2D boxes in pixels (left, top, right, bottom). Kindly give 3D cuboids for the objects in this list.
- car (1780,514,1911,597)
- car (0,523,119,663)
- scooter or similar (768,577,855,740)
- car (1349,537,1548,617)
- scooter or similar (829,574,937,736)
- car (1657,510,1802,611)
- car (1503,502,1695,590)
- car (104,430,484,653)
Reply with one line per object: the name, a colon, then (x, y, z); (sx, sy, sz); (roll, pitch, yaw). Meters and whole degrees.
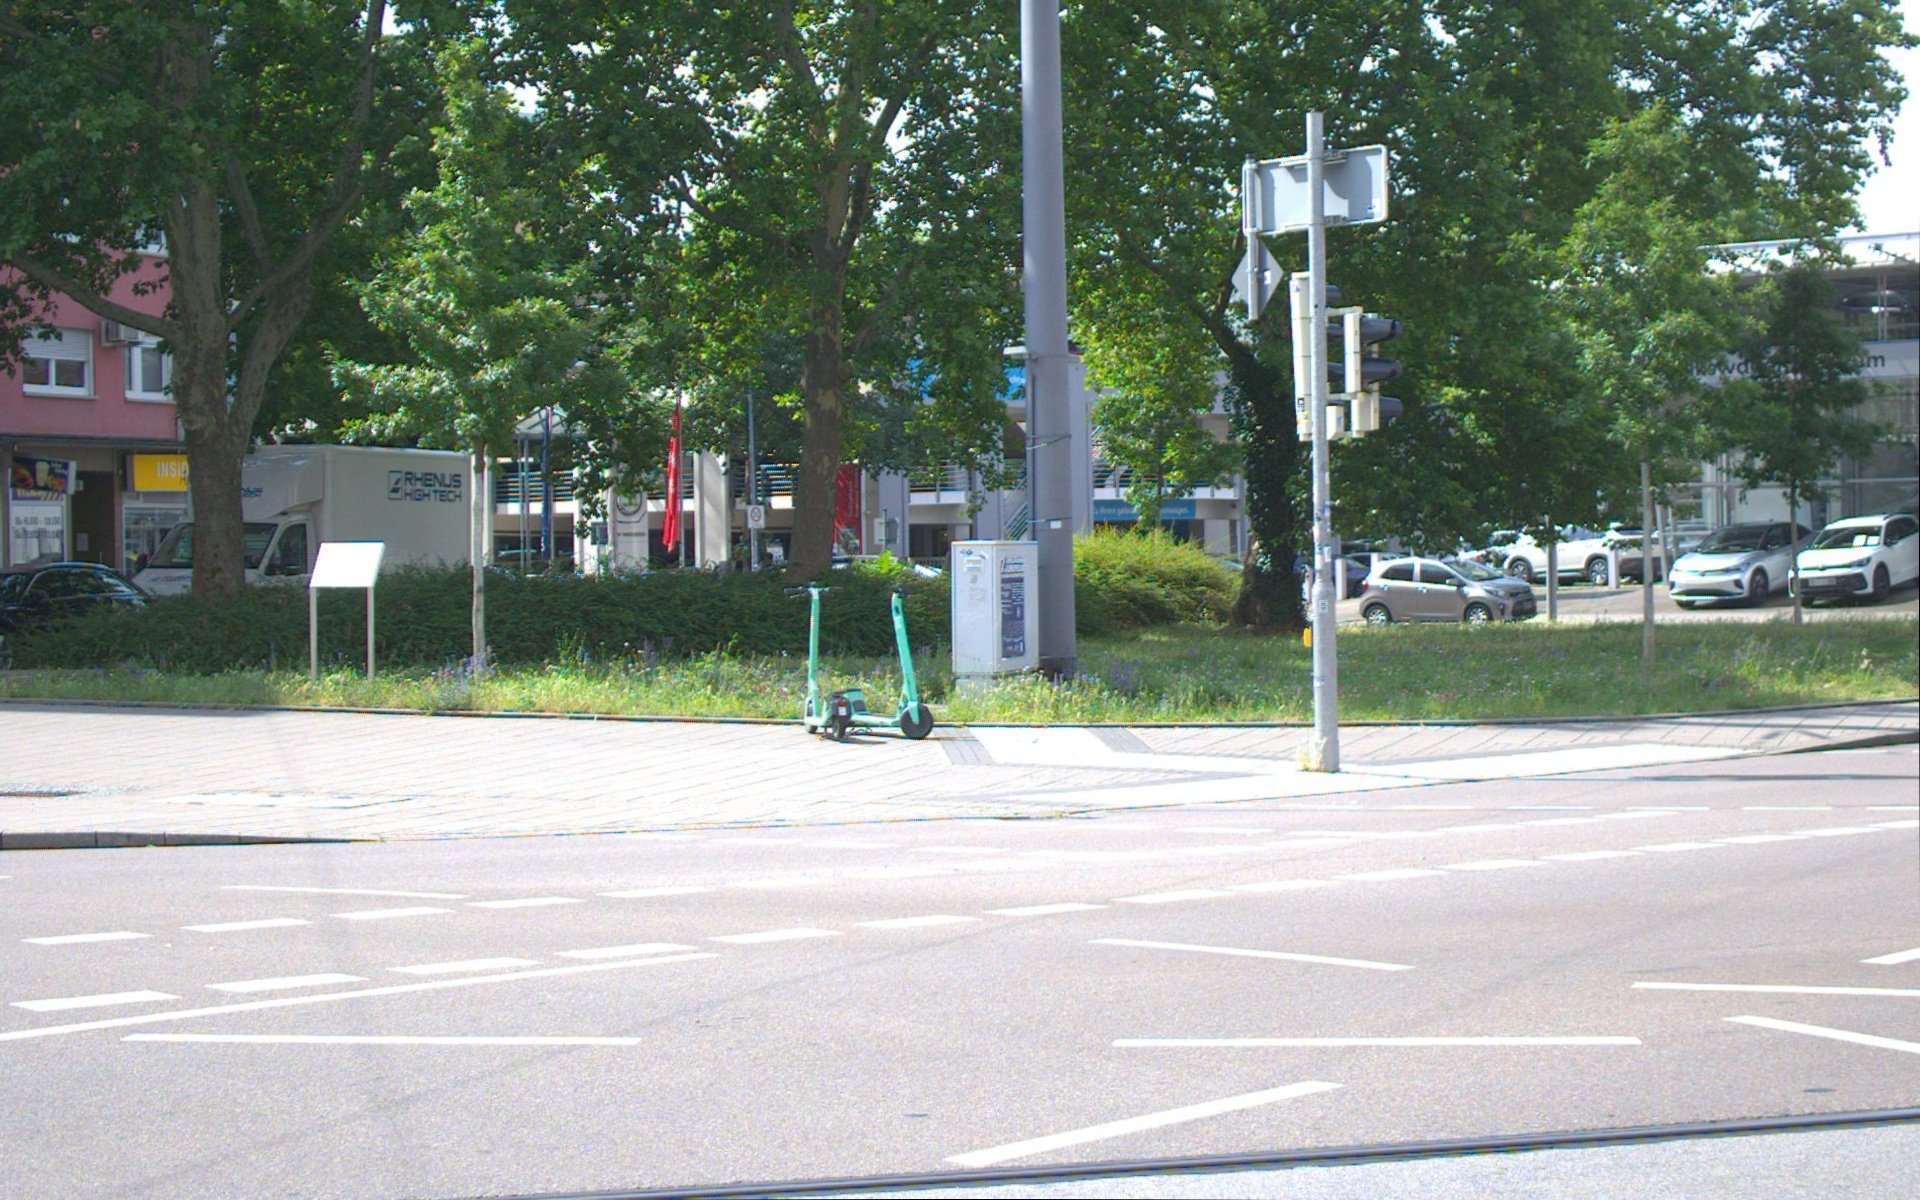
car: (18.543, -0.942, 71.903); (1.788, 1.676, 3.994); (0, 1, 27)
car: (-12.479, -0.108, 43.578); (1.994, 1.700, 3.998); (-1, 1, 12)
scooter or similar: (-1.141, 0.437, 26.305); (0.380, 1.192, 1.065); (1, 1, -17)
car: (10.041, -0.499, 70.812); (3.678, 1.482, 1.669); (3, 3, 36)
scooter or similar: (-0.597, 0.411, 26.325); (0.380, 1.192, 1.065); (0, 2, -27)
car: (16.389, -0.850, 73.075); (1.997, 2.006, 3.994); (3, 2, 27)
car: (15.211, -1.303, 81.957); (3.997, 2.007, 1.995); (2, 2, 41)
car: (-9.608, -0.857, 50.467); (1.995, 3.032, 7.242); (0, 1, 20)
